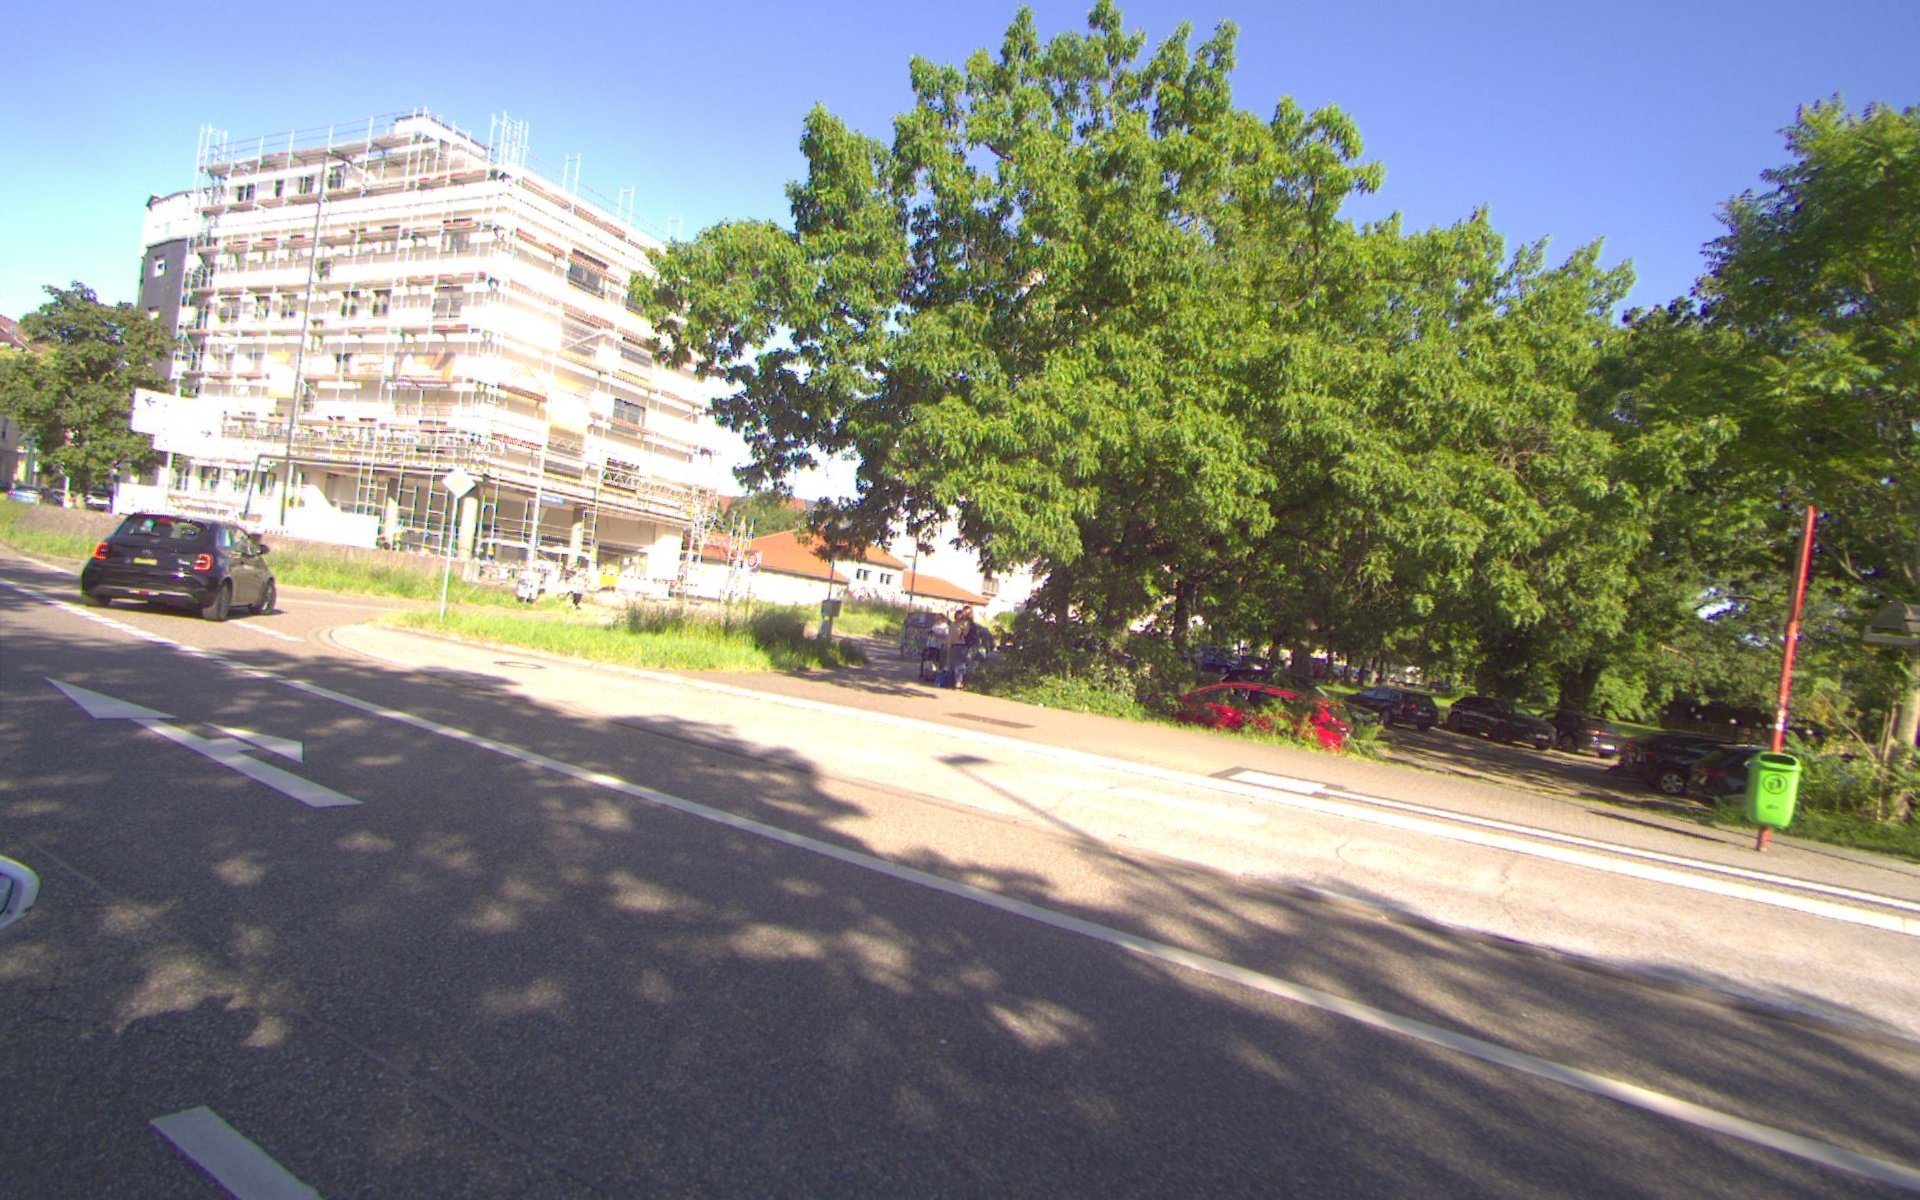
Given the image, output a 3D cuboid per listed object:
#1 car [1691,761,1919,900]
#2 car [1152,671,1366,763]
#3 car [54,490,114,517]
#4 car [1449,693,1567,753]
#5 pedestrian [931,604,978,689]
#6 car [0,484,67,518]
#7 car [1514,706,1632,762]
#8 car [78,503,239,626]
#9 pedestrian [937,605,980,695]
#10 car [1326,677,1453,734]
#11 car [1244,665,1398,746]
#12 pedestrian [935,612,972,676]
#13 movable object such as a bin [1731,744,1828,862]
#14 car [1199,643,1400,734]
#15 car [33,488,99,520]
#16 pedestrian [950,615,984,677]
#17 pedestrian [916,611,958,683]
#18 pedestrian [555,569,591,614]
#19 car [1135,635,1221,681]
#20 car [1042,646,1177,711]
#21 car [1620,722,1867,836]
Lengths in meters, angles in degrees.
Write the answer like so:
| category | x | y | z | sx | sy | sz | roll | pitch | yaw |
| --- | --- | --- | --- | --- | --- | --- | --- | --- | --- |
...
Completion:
| category | x | y | z | sx | sy | sz | roll | pitch | yaw |
| --- | --- | --- | --- | --- | --- | --- | --- | --- | --- |
| car | 15.296 | 4.047 | 17.795 | 3.554 | 1.657 | 1.764 | 7 | -1 | 33 |
| car | 6.001 | 2.308 | 20.315 | 3.845 | 1.168 | 1.399 | 7 | 0 | 30 |
| car | -71.967 | -7.943 | 82.659 | 3.925 | 1.613 | 1.911 | 8 | 0 | 18 |
| car | 21.609 | 4.820 | 39.870 | 1.966 | 1.621 | 3.994 | 8 | 0 | -7 |
| pedestrian | -0.114 | 0.966 | 20.799 | 0.542 | 1.654 | 0.623 | 8 | 0 | 31 |
| car | -52.387 | -5.573 | 56.913 | 1.760 | 1.460 | 3.594 | 9 | -1 | -26 |
| car | 24.436 | 5.318 | 40.290 | 1.755 | 1.466 | 3.994 | 8 | 0 | -7 |
| car | -12.493 | -0.602 | 15.678 | 1.668 | 1.521 | 3.522 | 8 | -1 | -40 |
| pedestrian | -0.031 | 1.007 | 20.066 | 0.403 | 1.721 | 0.603 | 8 | 0 | 31 |
| car | 16.549 | 4.064 | 38.853 | 1.990 | 1.573 | 3.950 | 9 | -3 | -44 |
| car | 10.972 | 3.185 | 30.645 | 3.937 | 1.834 | 1.846 | 6 | -2 | 35 |
| pedestrian | -0.169 | 1.208 | 27.238 | 0.557 | 1.638 | 0.705 | 7 | -1 | 25 |
| movable object such as a bin | 8.467 | 2.079 | 10.420 | 0.568 | 1.042 | 0.728 | 7 | 0 | 31 |
| car | 9.401 | 2.452 | 28.037 | 4.810 | 1.555 | 1.997 | 10 | -1 | 34 |
| car | -54.447 | -5.795 | 61.365 | 1.803 | 1.526 | 3.975 | 8 | 0 | -25 |
| pedestrian | 0.207 | 1.298 | 28.048 | 0.557 | 1.638 | 0.599 | 7 | -1 | 25 |
| pedestrian | -0.525 | 1.073 | 22.950 | 0.603 | 1.536 | 0.528 | 7 | 0 | 34 |
| pedestrian | -14.407 | -0.316 | 37.440 | 0.892 | 1.515 | 0.651 | 7 | 0 | 23 |
| car | 12.831 | 3.410 | 59.310 | 4.282 | 2.098 | 1.996 | 7 | -1 | 34 |
| car | 5.100 | 2.681 | 34.433 | 3.937 | 1.625 | 1.996 | 6 | -2 | 35 |
| car | 20.118 | 4.549 | 26.152 | 4.700 | 1.769 | 1.755 | 10 | -1 | 34 |
